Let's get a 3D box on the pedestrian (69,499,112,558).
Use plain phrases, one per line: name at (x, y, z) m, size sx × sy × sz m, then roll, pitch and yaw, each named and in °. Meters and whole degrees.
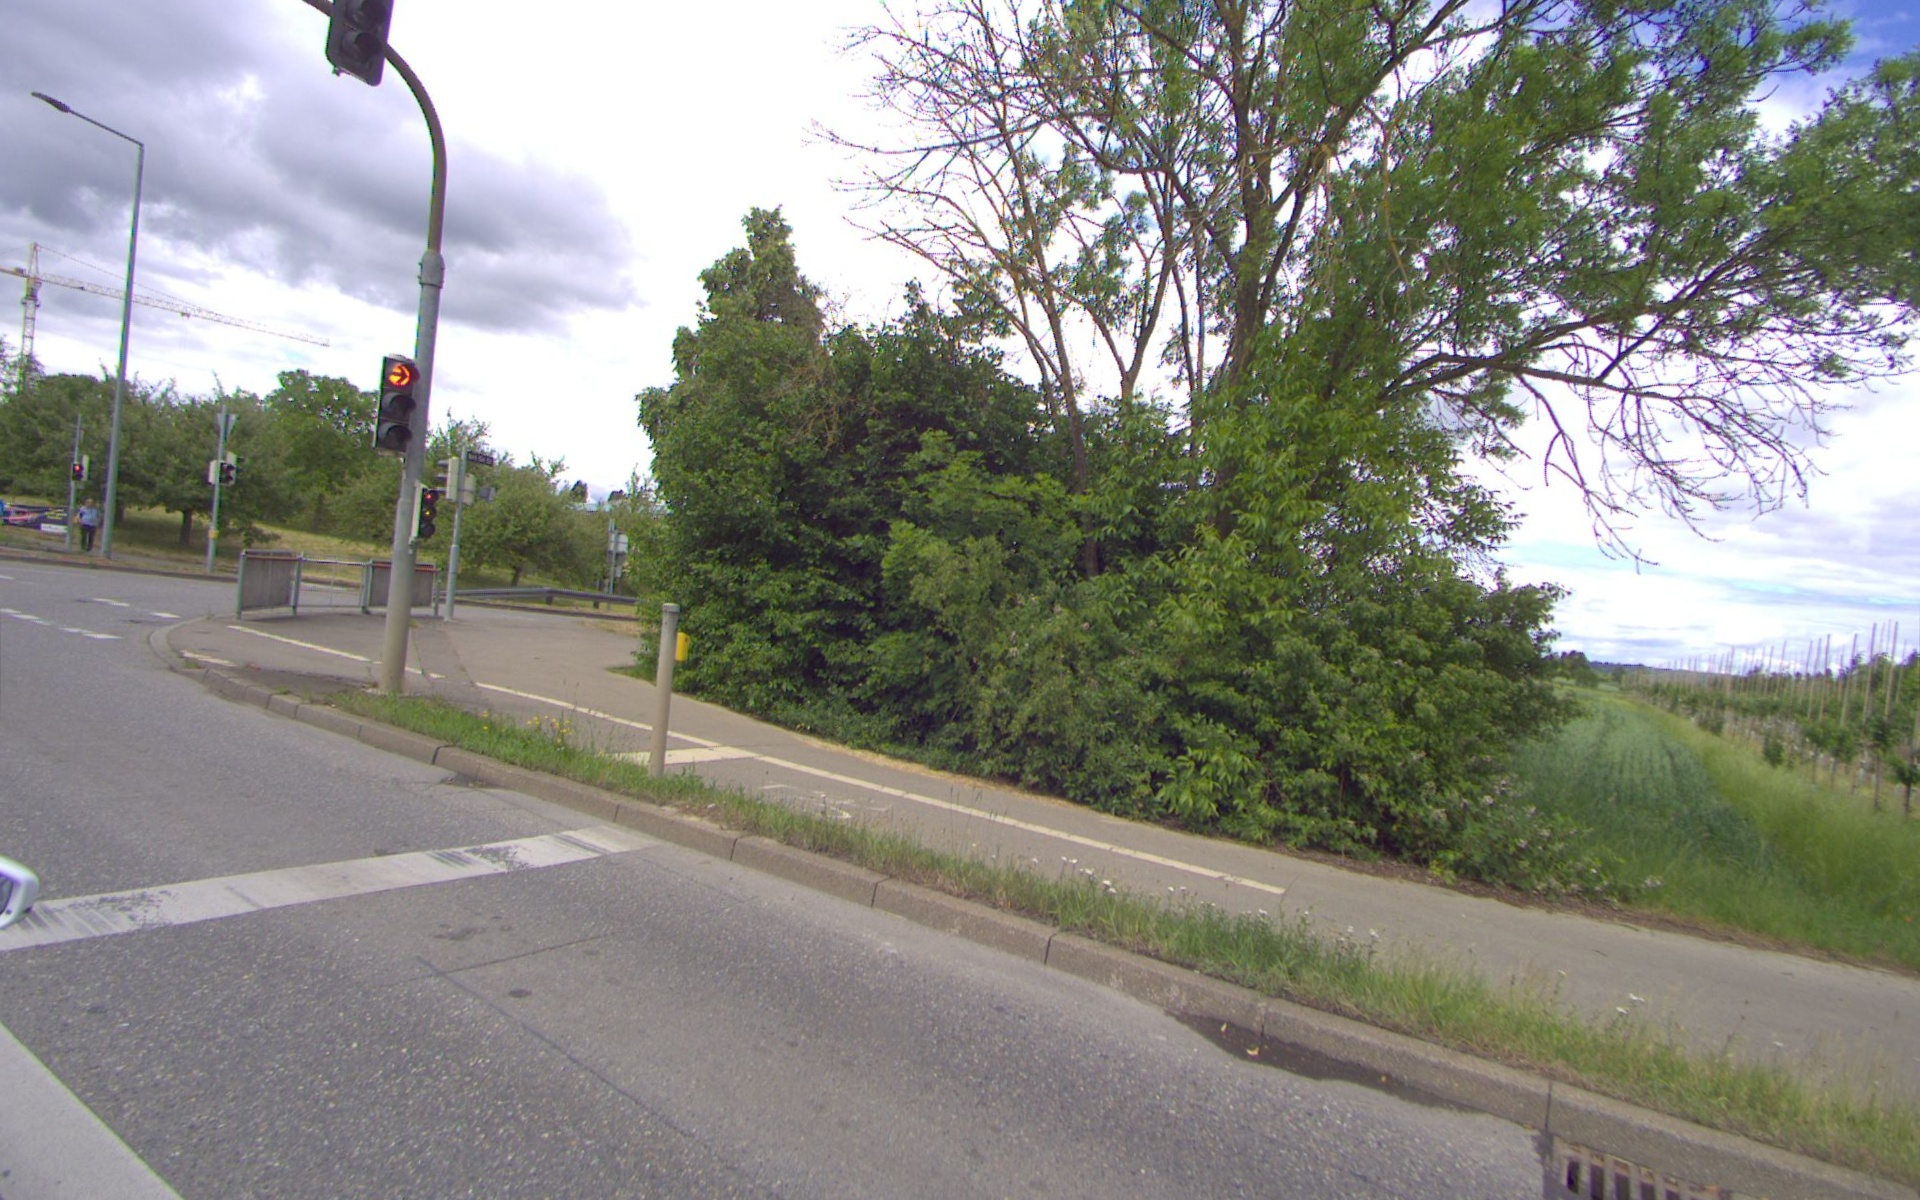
pedestrian at (-29.106, -2.393, 33.671) m, size 1.027 × 1.813 × 0.719 m, roll 6°, pitch -1°, yaw 35°
